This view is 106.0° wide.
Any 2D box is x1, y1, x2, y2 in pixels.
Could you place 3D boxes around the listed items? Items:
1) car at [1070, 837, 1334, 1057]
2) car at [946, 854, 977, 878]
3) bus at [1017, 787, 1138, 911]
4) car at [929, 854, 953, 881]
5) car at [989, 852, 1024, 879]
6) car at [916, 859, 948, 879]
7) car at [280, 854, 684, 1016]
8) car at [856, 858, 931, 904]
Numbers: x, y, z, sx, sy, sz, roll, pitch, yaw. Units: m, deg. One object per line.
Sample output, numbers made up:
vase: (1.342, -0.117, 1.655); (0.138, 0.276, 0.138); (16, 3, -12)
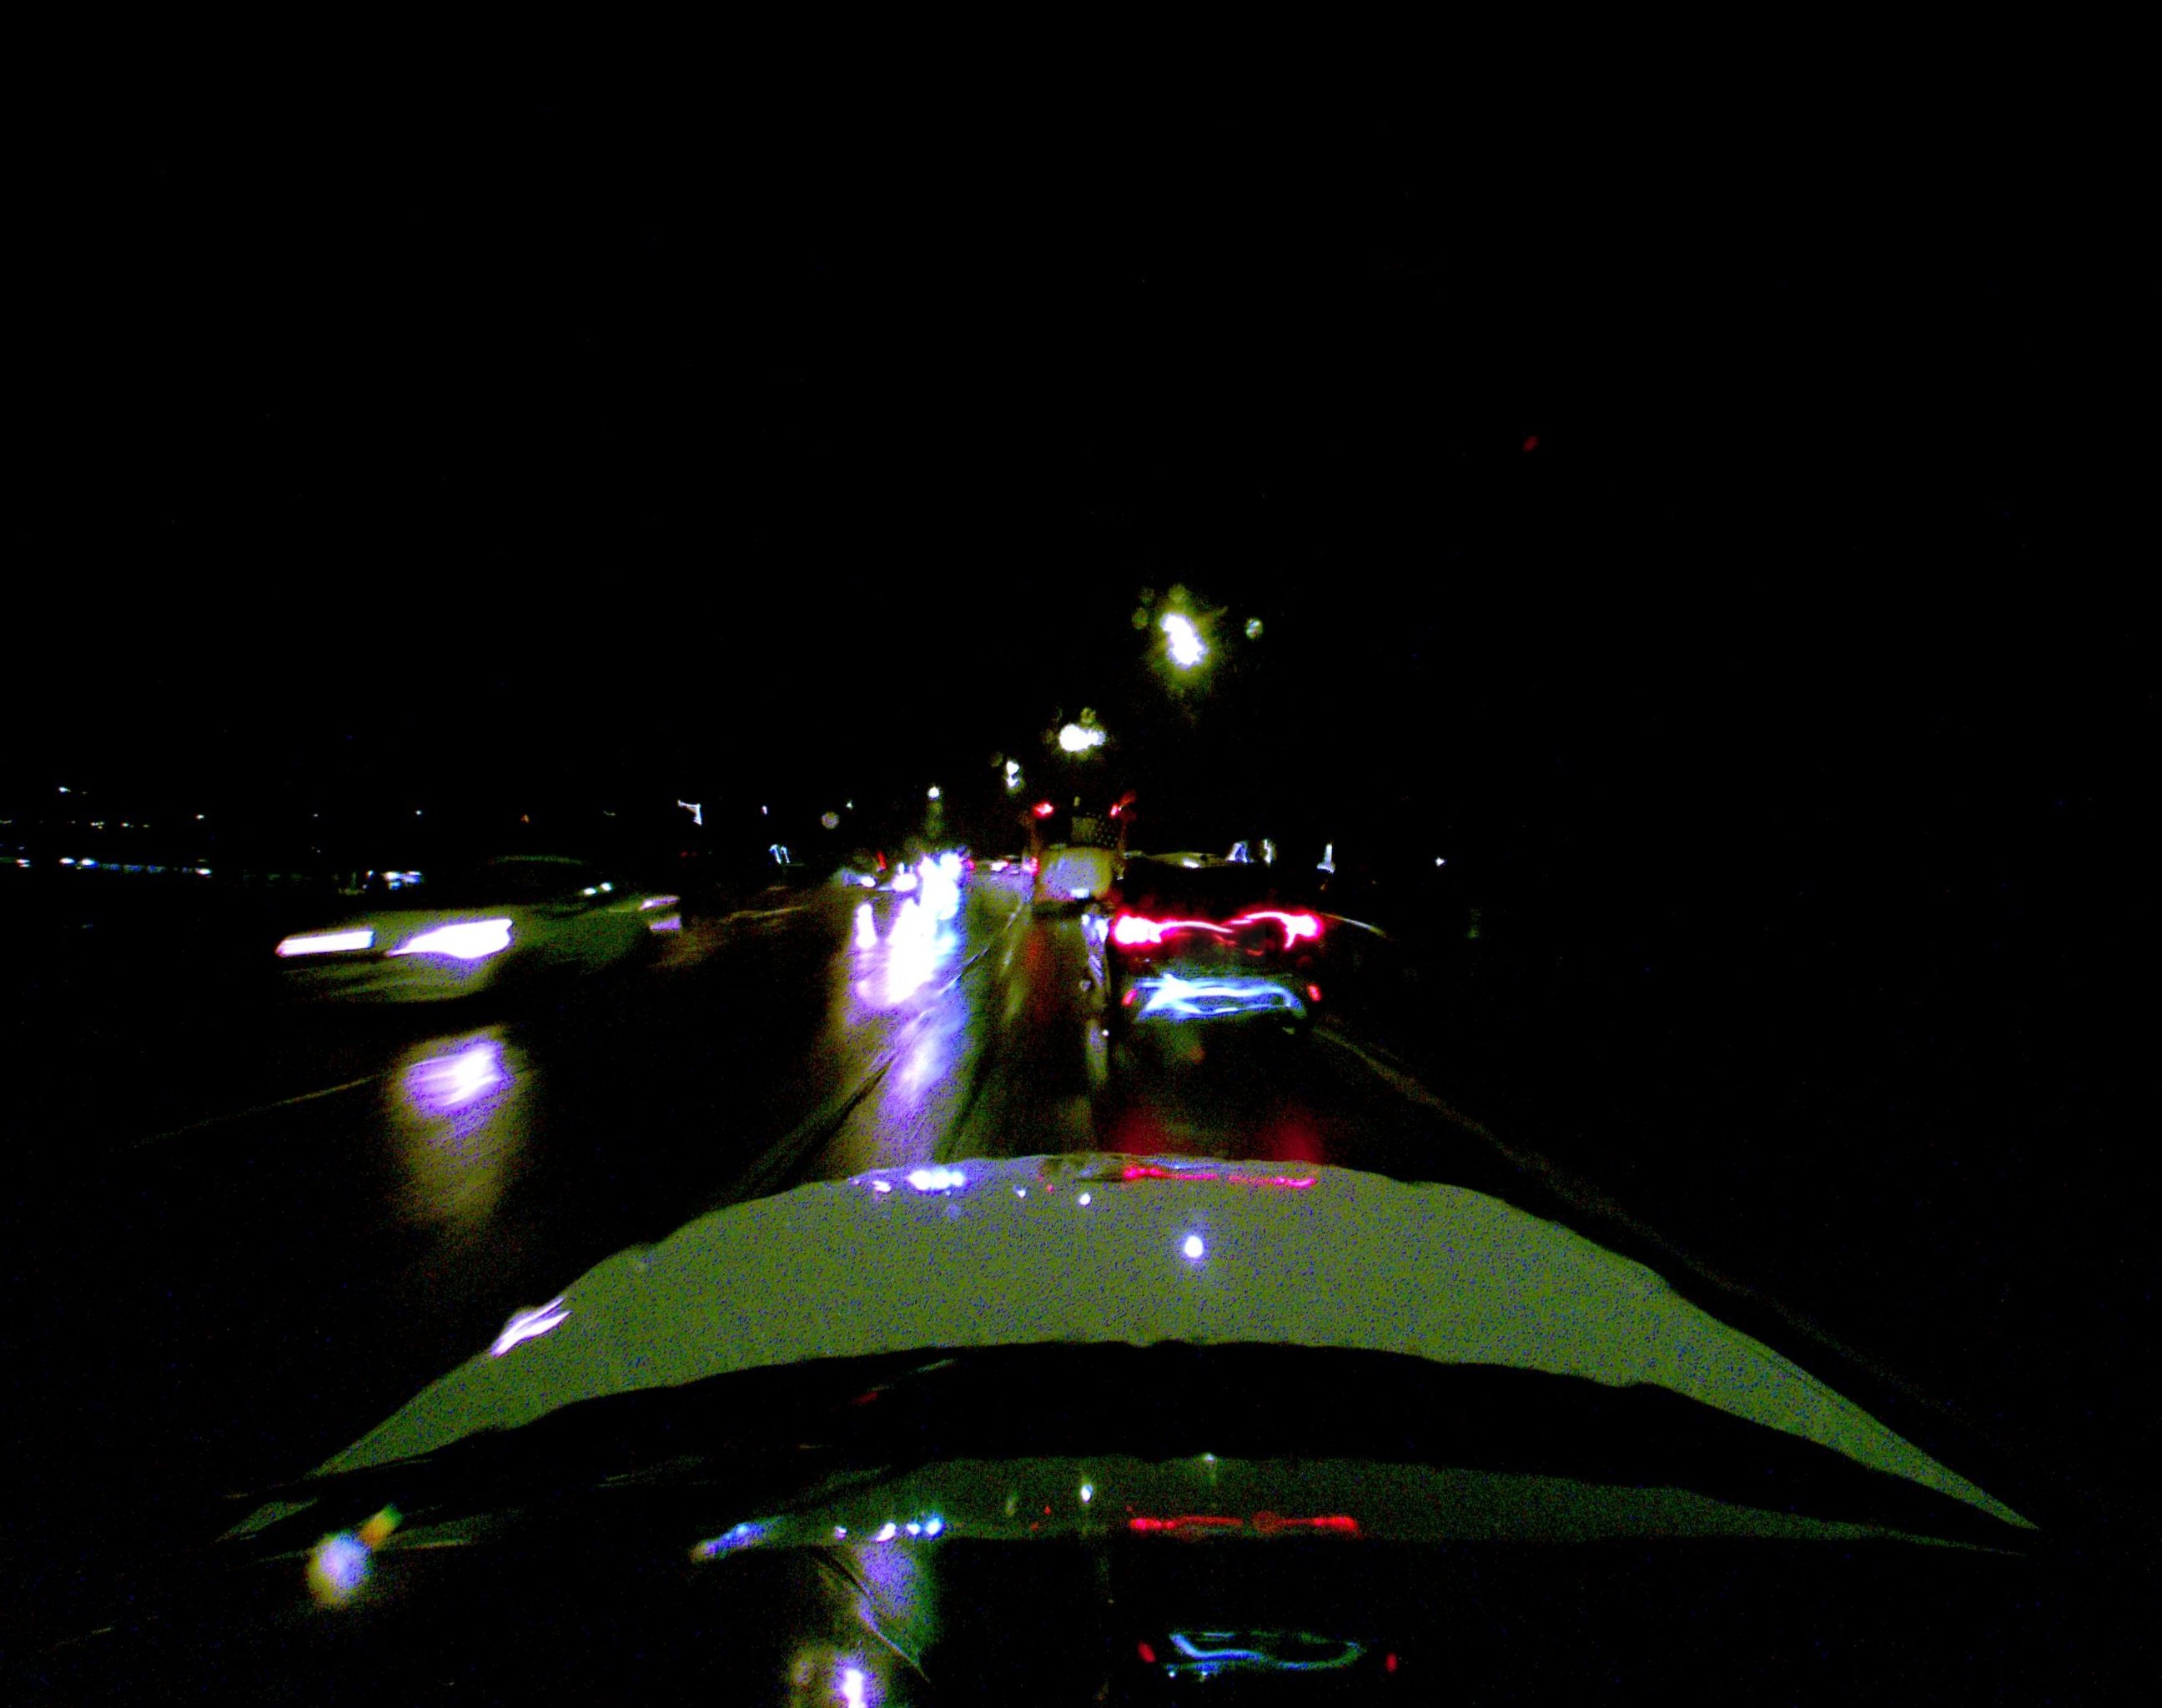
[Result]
car: (0.858, 0.688, 7.935); (1.851, 1.586, 3.996); (0, 0, -2)
car: (-10.625, 1.008, 72.262); (2.000, 2.013, 3.974); (0, 0, -19)
bus: (-0.480, -0.176, 27.025); (3.077, 3.132, 12.680); (0, 0, -4)
car: (-8.776, 0.814, 51.248); (1.470, 1.584, 3.181); (0, 1, -9)
car: (-5.178, 0.749, 56.129); (1.640, 1.655, 3.689); (-2, 1, -17)
car: (-11.524, 1.159, 62.746); (1.901, 1.439, 4.037); (0, 0, -19)
car: (-6.599, 0.760, 9.631); (1.760, 1.517, 3.950); (0, 0, 2)
car: (-6.449, 0.873, 28.460); (1.762, 1.427, 4.215); (-1, 0, -2)
